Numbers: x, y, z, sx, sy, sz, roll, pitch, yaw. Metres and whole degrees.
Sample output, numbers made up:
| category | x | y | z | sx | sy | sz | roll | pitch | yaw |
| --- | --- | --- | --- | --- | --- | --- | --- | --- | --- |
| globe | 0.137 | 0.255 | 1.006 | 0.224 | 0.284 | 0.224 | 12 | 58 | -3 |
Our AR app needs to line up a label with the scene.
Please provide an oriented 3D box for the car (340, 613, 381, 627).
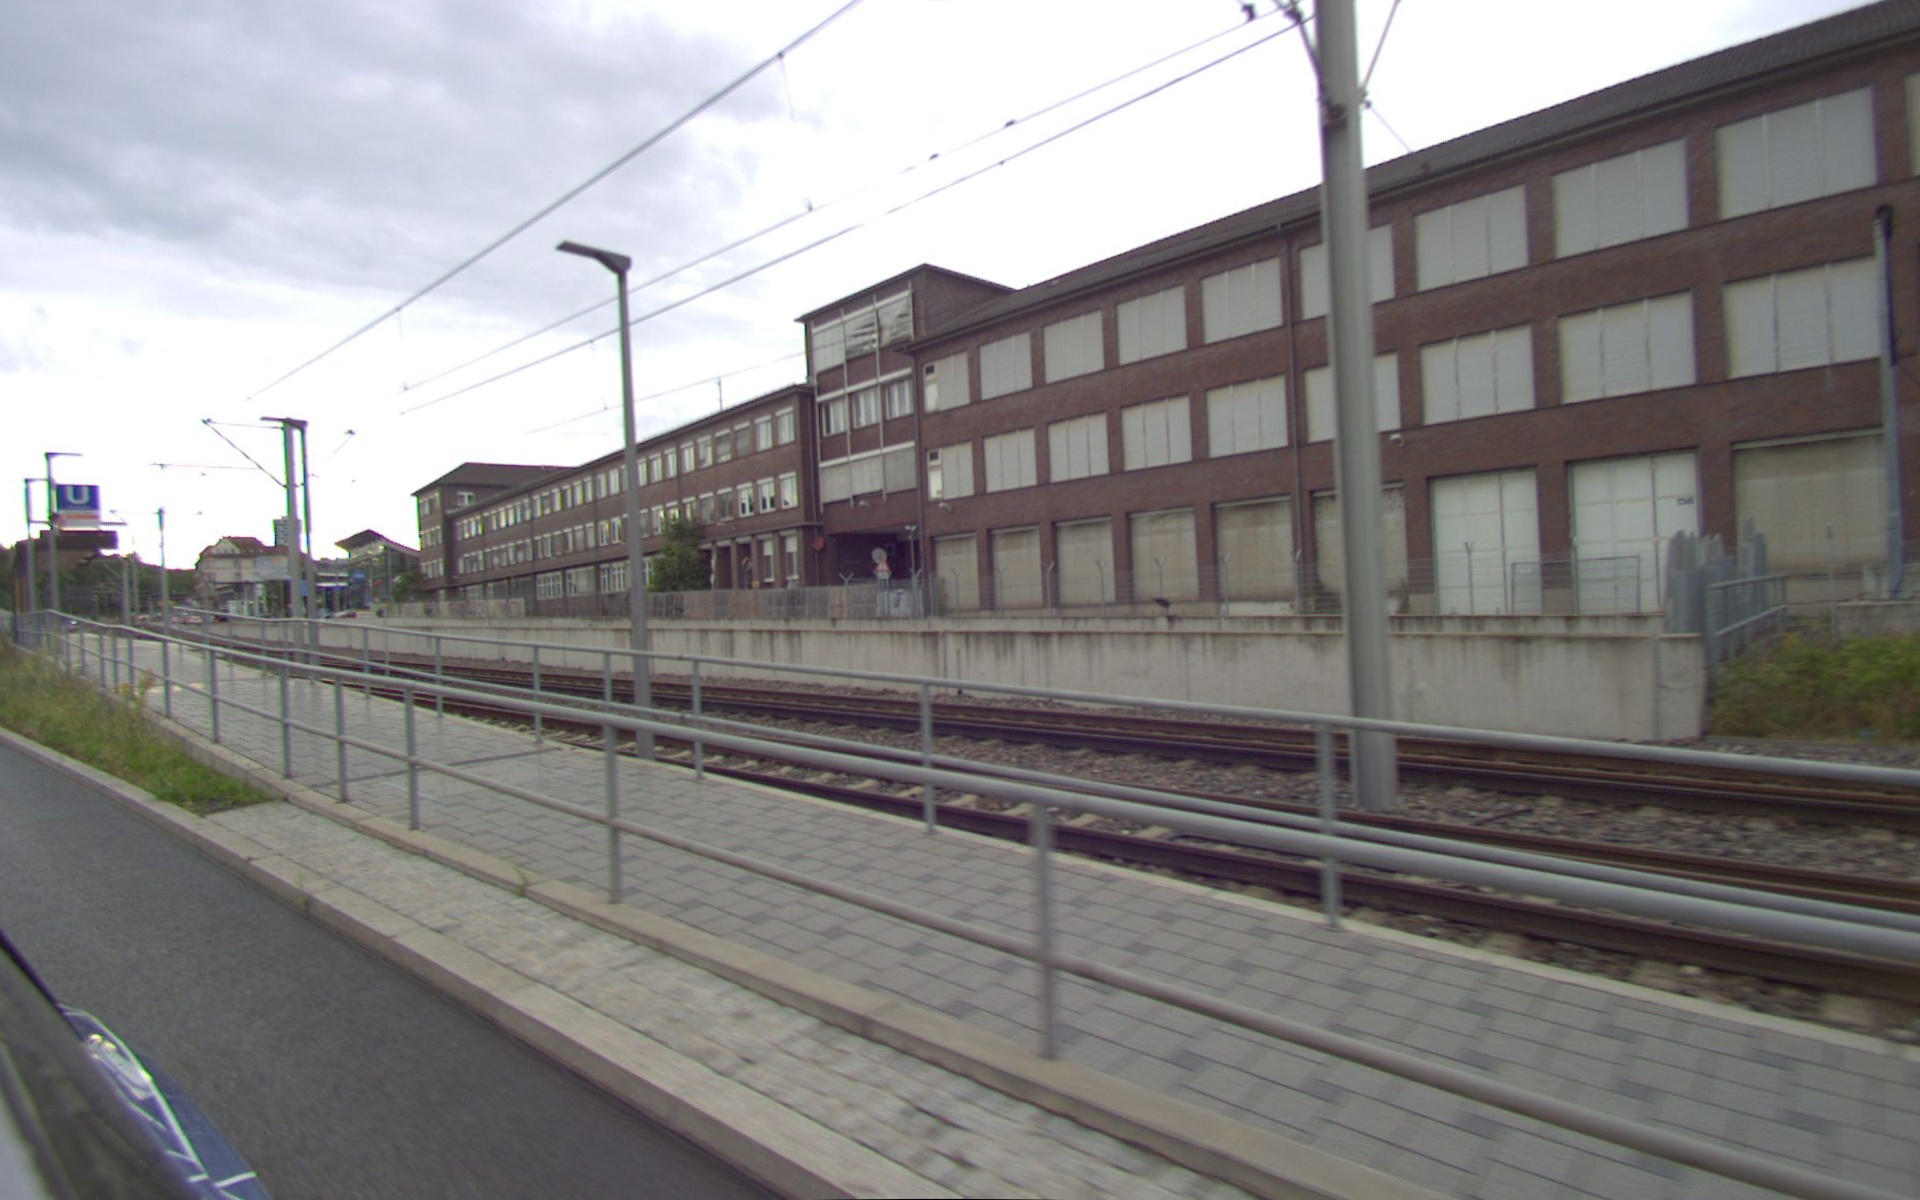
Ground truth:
| category | x | y | z | sx | sy | sz | roll | pitch | yaw |
| --- | --- | --- | --- | --- | --- | --- | --- | --- | --- |
| car | -82.059 | 2.728 | 138.528 | 4.509 | 1.773 | 2.003 | -2 | 0 | -41 |

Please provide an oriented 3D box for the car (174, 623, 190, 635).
| category | x | y | z | sx | sy | sz | roll | pitch | yaw |
| --- | --- | --- | --- | --- | --- | --- | --- | --- | --- |
| car | -142.129 | 5.281 | 184.807 | 1.970 | 2.029 | 4.003 | 0 | -1 | -44 |

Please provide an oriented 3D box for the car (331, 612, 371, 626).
| category | x | y | z | sx | sy | sz | roll | pitch | yaw |
| --- | --- | --- | --- | --- | --- | --- | --- | --- | --- |
| car | -84.795 | 2.609 | 140.948 | 4.509 | 1.773 | 2.003 | -2 | 0 | -41 |
